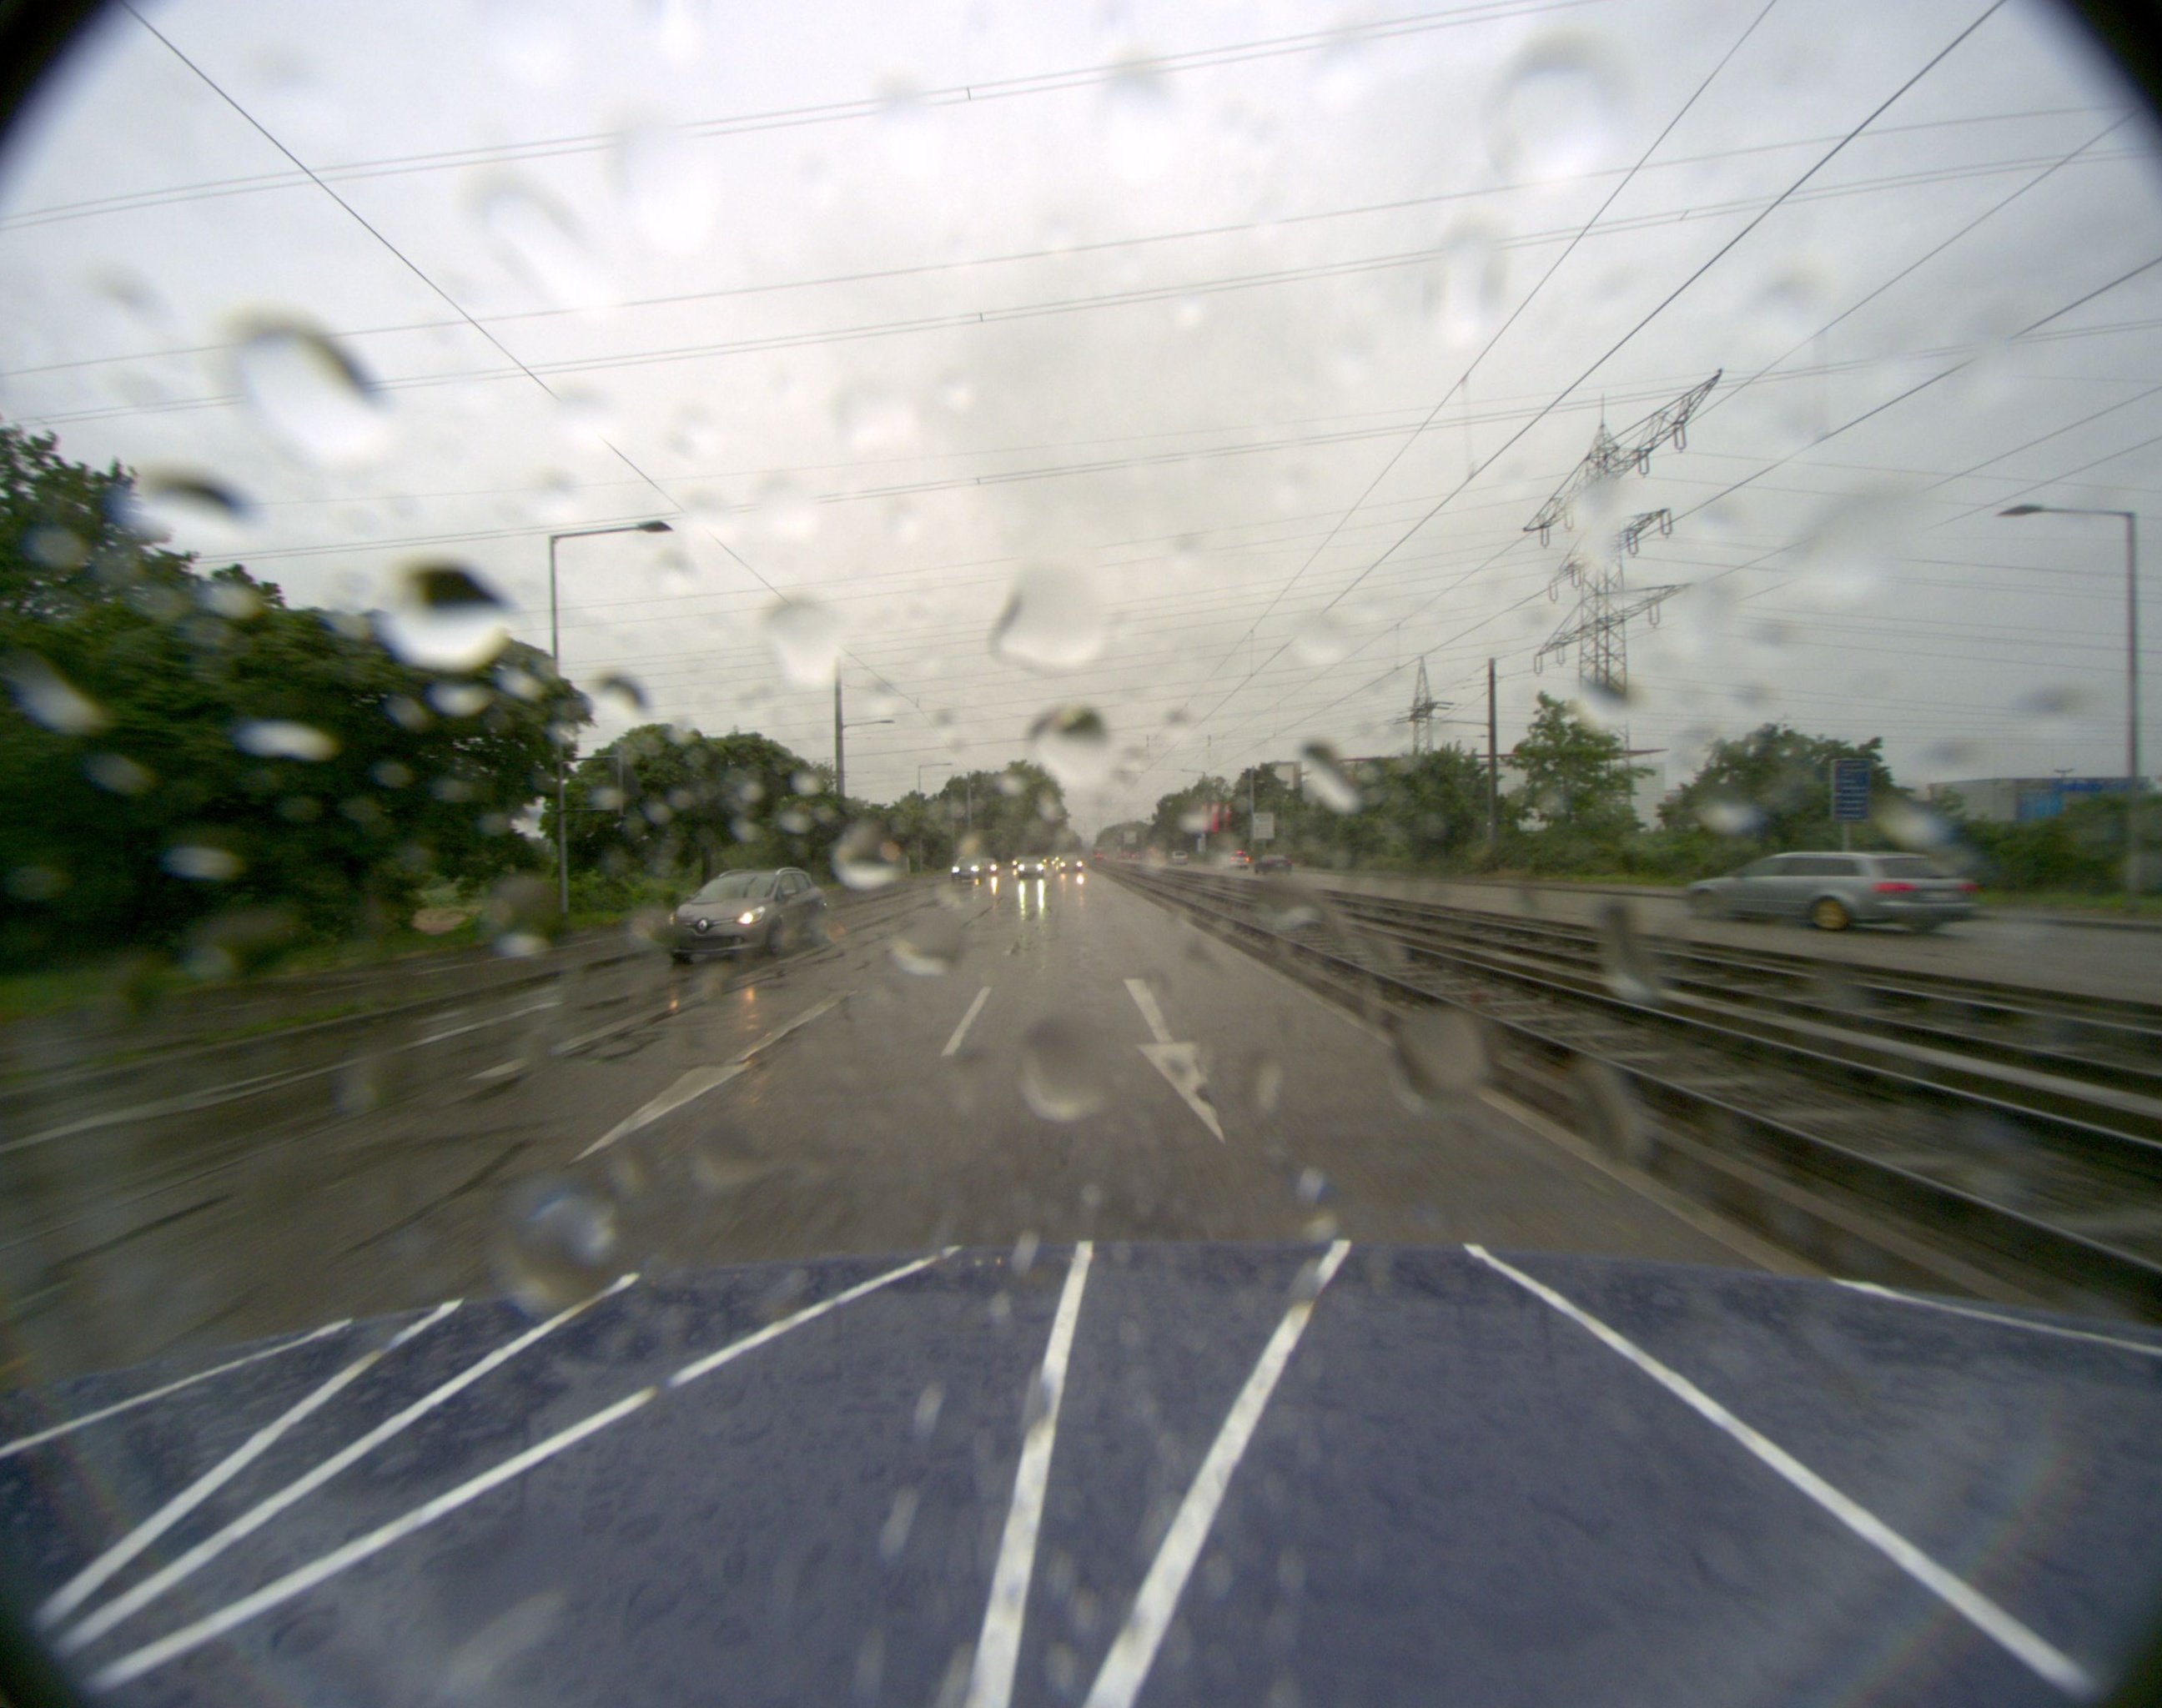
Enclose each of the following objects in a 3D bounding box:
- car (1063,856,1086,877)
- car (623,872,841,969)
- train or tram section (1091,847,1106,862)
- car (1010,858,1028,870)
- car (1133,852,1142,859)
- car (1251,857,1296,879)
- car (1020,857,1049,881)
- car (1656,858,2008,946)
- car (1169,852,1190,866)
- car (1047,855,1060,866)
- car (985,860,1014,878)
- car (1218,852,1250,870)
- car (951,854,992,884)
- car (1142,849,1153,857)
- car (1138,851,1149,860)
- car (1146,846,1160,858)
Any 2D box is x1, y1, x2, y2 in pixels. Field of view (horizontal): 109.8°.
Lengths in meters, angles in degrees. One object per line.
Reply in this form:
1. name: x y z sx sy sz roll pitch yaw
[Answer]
1. car: -0.503 1.072 64.707 1.816 1.692 4.000 -2 0 0
2. car: -5.990 1.064 13.710 1.892 1.349 4.277 -2 0 0
3. train or tram section: 4.589 0.197 200.143 2.893 3.683 19.527 -2 0 -1
4. car: -7.340 1.177 90.237 1.784 1.419 4.000 -2 0 0
5. car: 15.625 0.333 209.816 1.868 1.903 4.000 -2 0 -2
6. car: 13.582 0.942 54.002 1.998 1.455 5.252 1 0 2
7. car: -3.177 1.023 52.101 1.808 1.521 3.645 -2 0 -2
8. car: 14.097 0.795 14.845 1.762 1.354 5.071 -2 0 -1
9. car: 12.380 0.667 95.825 1.830 1.625 5.136 -2 0 -1
10. car: -4.271 1.034 118.706 1.846 1.572 3.837 -2 0 -1
11. car: -6.517 1.188 61.186 1.784 1.419 4.000 -2 0 0
12. car: 14.401 0.632 71.671 1.847 1.564 5.066 -2 0 -1
13. car: -6.756 0.897 47.434 1.797 1.692 4.763 -2 0 0
14. car: 14.794 -0.144 169.291 1.901 1.631 4.730 -2 0 -2
15. car: 15.290 0.488 186.455 2.095 2.088 4.730 -2 0 -2
16. car: 14.761 -0.358 155.746 2.156 2.284 5.982 2 -1 -1
